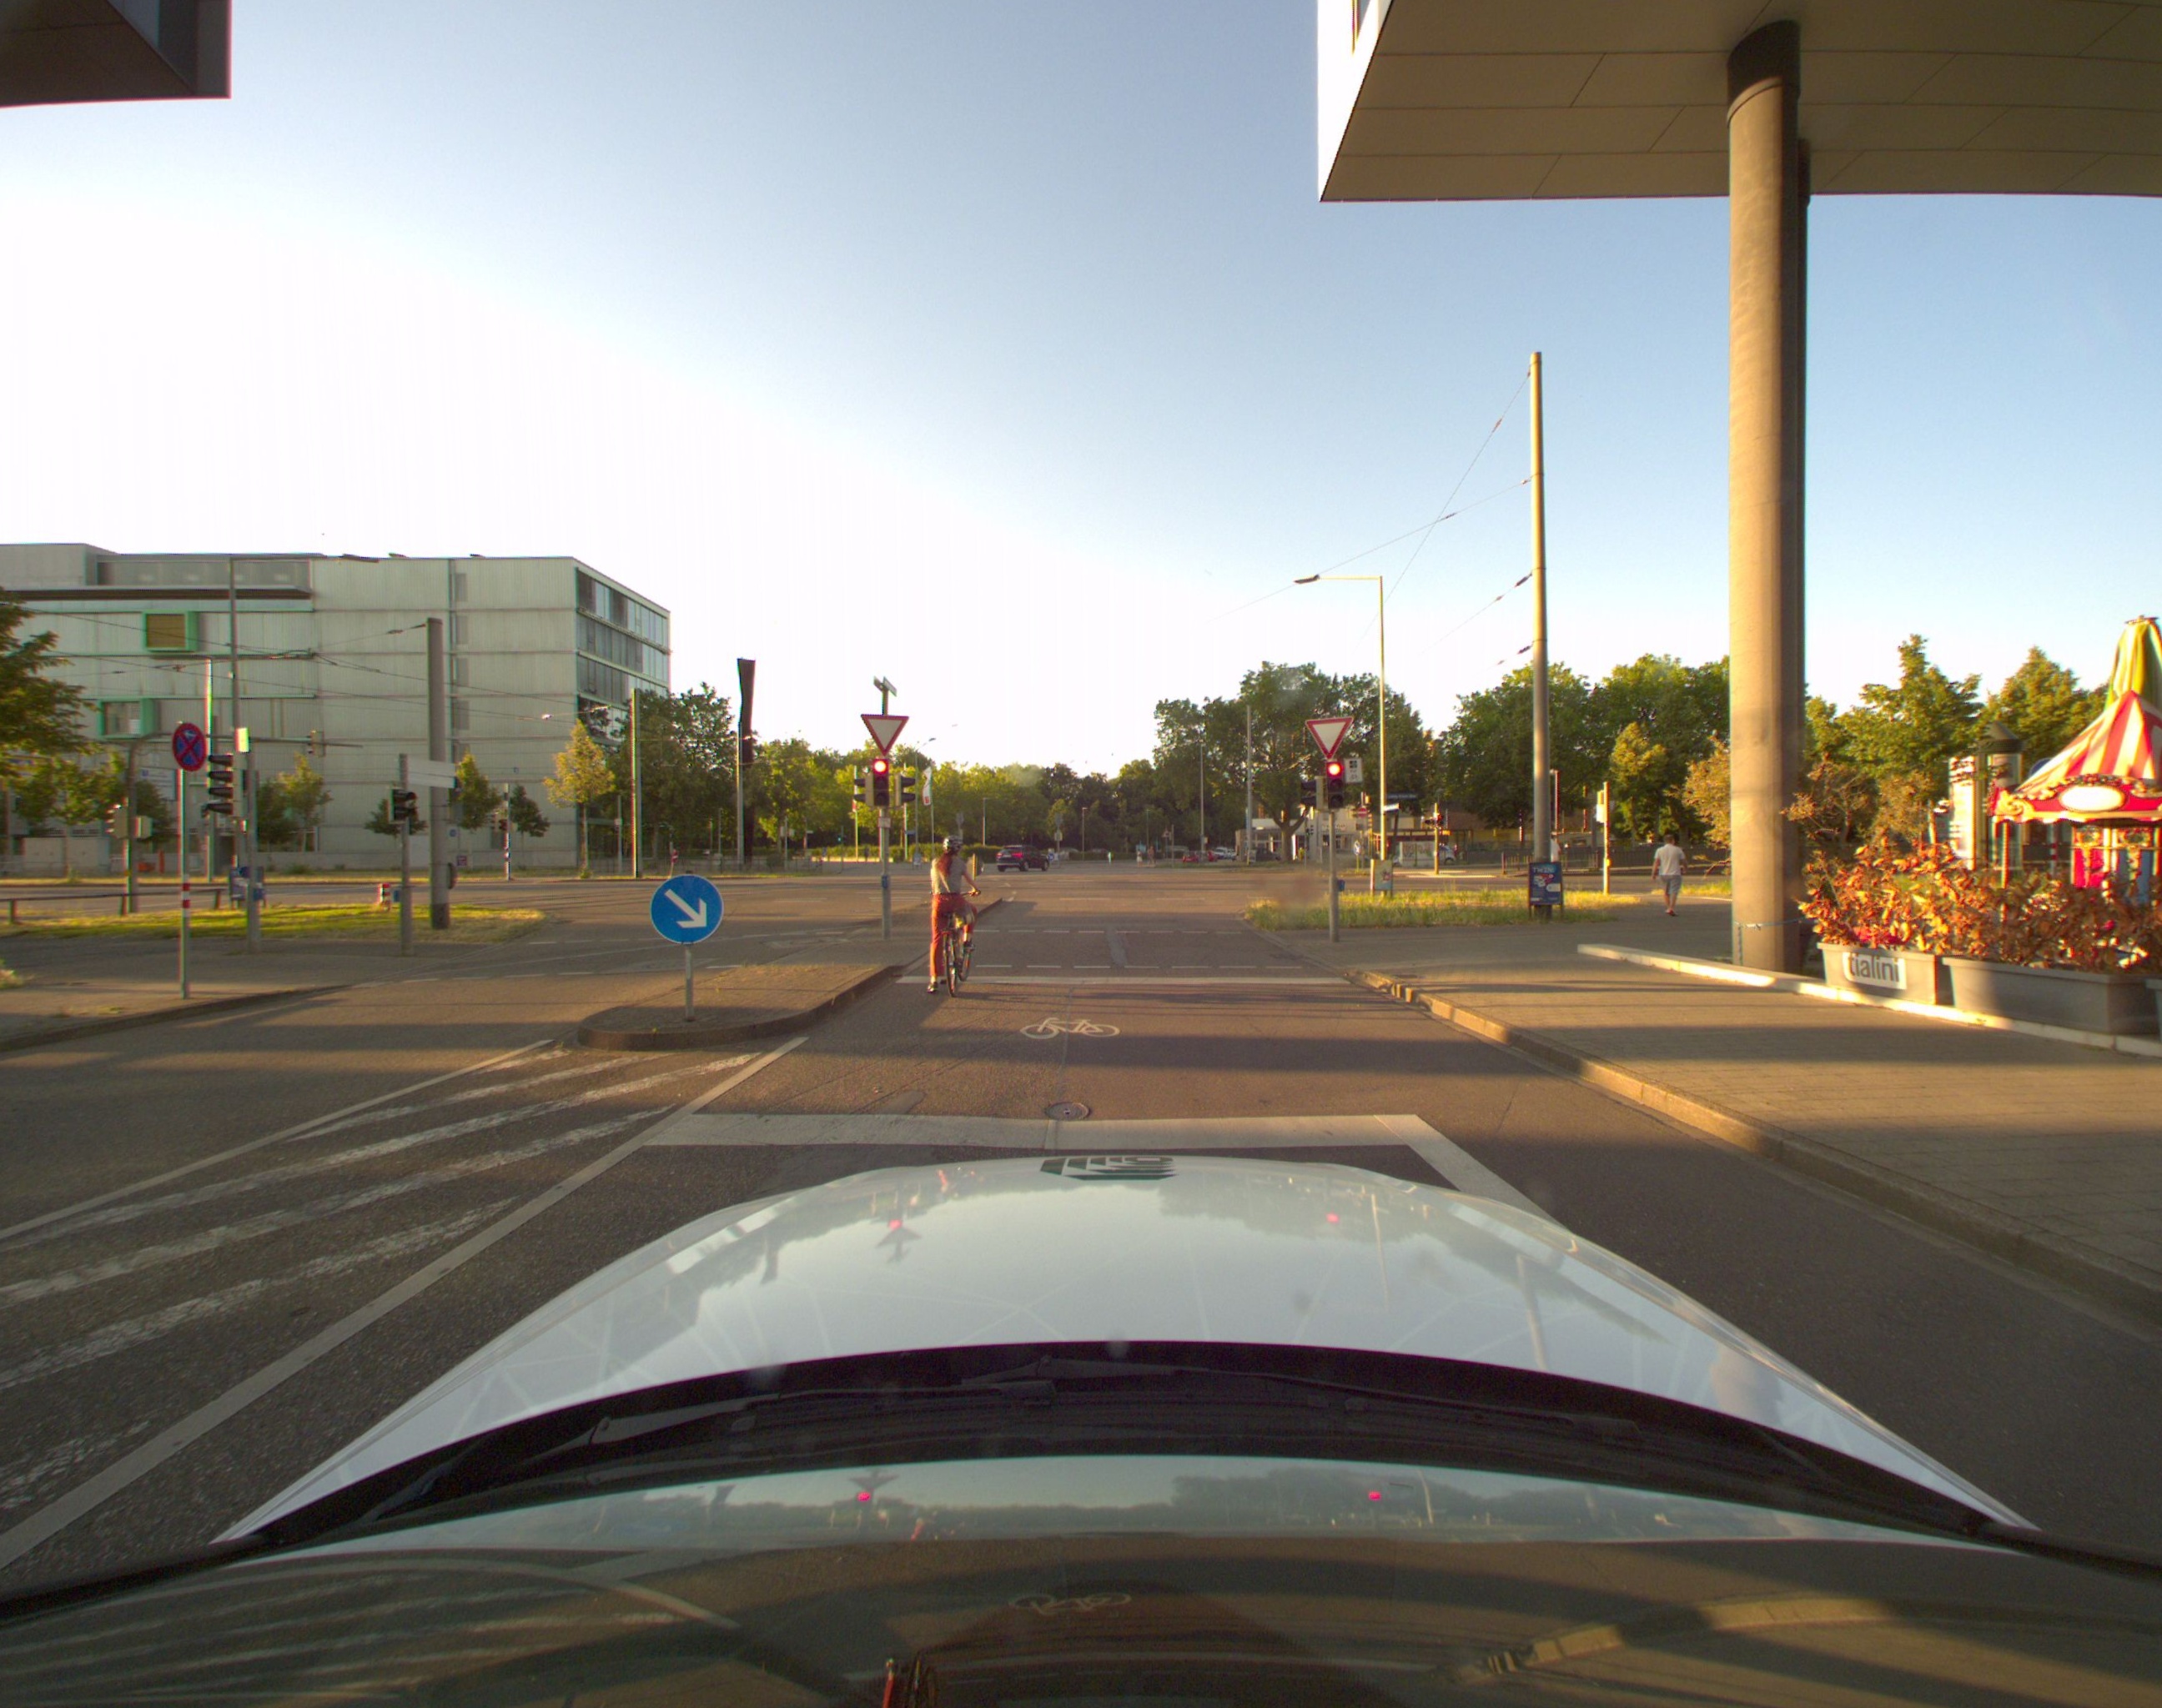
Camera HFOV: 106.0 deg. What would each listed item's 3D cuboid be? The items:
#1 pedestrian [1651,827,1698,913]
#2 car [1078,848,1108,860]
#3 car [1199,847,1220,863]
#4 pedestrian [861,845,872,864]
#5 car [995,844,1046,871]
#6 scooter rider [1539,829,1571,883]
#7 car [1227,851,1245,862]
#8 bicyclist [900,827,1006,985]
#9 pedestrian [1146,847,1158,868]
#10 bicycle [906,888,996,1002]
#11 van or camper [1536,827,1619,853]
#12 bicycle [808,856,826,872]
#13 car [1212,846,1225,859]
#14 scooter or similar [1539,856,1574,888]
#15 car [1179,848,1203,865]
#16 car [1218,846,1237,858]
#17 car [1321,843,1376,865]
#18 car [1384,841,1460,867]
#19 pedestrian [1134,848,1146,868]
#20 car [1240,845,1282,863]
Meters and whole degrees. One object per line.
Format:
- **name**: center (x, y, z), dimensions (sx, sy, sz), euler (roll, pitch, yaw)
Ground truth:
- **pedestrian**: center (12.839, 0.333, 17.638), dimensions (0.754, 1.791, 0.807), euler (-1, 0, 32)
- **car**: center (1.667, -0.003, 109.670), dimensions (3.970, 1.561, 2.002), euler (-1, 0, 3)
- **car**: center (16.239, 0.094, 103.139), dimensions (1.899, 2.047, 4.020), euler (0, 0, 20)
- **pedestrian**: center (-19.838, 0.075, 75.352), dimensions (0.898, 1.754, 0.715), euler (-1, 0, -24)
- **car**: center (-3.665, 0.228, 49.971), dimensions (1.742, 1.541, 4.418), euler (-1, -1, 15)
- **scooter rider**: center (16.389, 0.075, 28.145), dimensions (0.699, 1.855, 0.669), euler (0, -1, 1)
- **car**: center (21.888, 0.356, 115.086), dimensions (1.899, 1.602, 4.020), euler (0, 0, 20)
- **bicyclist**: center (-1.454, 0.568, 9.434), dimensions (1.028, 1.717, 0.996), euler (-1, 0, 1)
- **pedestrian**: center (5.858, 0.298, 67.206), dimensions (0.712, 1.754, 0.903), euler (-1, 0, 26)
- **bicycle**: center (-1.447, 0.980, 9.419), dimensions (0.632, 1.068, 2.123), euler (-1, 0, 2)
- **van or camper**: center (47.916, -1.315, 78.728), dimensions (6.530, 2.410, 2.268), euler (-1, 0, 6)
- **bicycle**: center (-20.654, 0.769, 63.719), dimensions (0.697, 1.136, 2.392), euler (-1, 0, -1)
- **car**: center (22.057, -0.319, 130.889), dimensions (1.982, 2.013, 4.010), euler (-1, 0, 9)
- **scooter or similar**: center (16.389, 0.606, 28.095), dimensions (0.508, 1.090, 1.243), euler (-1, 0, 2)
- **car**: center (12.909, 0.269, 95.598), dimensions (1.852, 1.874, 3.896), euler (0, 0, 23)
- **car**: center (24.413, -0.299, 135.490), dimensions (1.975, 2.013, 4.024), euler (-1, 0, 27)
- **car**: center (23.649, -0.026, 72.100), dimensions (4.211, 1.846, 2.002), euler (-1, 0, 4)
- **car**: center (23.649, -0.018, 56.536), dimensions (4.523, 1.728, 1.860), euler (-1, 0, -3)
- **pedestrian**: center (4.921, 0.338, 68.007), dimensions (0.712, 1.639, 0.903), euler (-1, 0, 26)
- **car**: center (19.572, 0.014, 88.699), dimensions (4.354, 1.835, 1.952), euler (-1, 0, 6)
